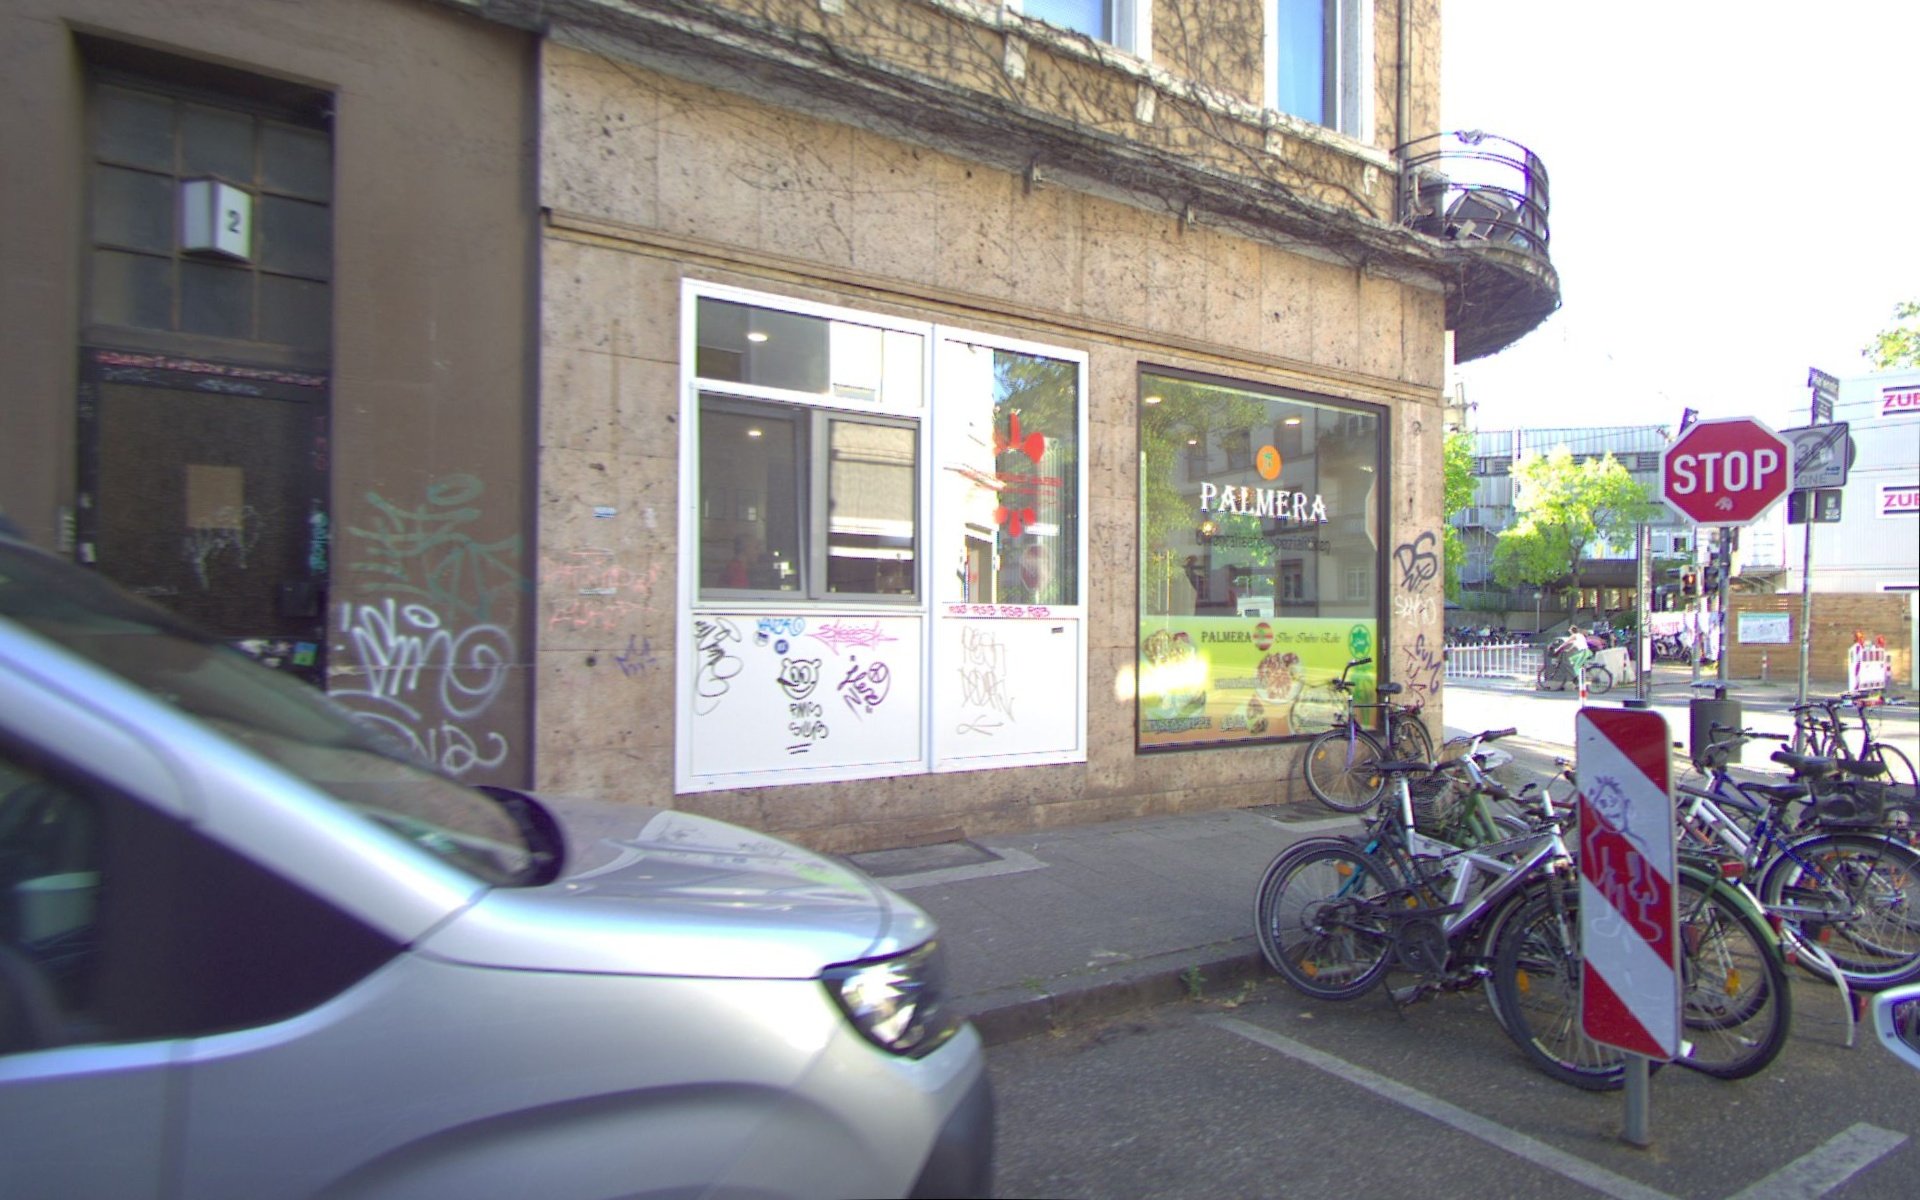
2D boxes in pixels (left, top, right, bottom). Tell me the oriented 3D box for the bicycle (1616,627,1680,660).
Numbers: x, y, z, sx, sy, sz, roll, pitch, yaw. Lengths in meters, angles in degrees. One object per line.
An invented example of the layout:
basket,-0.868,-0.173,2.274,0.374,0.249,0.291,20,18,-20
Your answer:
bicycle,26.959,1.710,39.386,2.009,1.274,0.471,-1,0,16

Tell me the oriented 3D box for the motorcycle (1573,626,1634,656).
motorcycle,28.052,1.790,43.787,2.167,1.274,0.543,-1,0,16

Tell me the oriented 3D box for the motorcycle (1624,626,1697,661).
motorcycle,26.419,1.634,37.906,2.167,1.274,0.543,-1,0,16

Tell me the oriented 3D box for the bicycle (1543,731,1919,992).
bicycle,3.958,1.235,5.046,0.424,0.974,1.752,1,-2,-37

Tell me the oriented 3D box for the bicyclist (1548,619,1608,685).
bicyclist,16.132,1.349,26.240,0.887,1.661,1.089,3,-2,-36

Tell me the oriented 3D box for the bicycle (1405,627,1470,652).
bicycle,23.609,1.928,49.740,0.811,1.162,3.067,0,-1,-27

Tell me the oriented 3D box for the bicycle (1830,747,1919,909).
bicycle,5.616,1.292,5.460,0.368,0.829,1.298,1,-2,-39

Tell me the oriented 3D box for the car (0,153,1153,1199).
car,-2.029,0.570,1.258,4.465,1.934,1.672,1,-4,-30

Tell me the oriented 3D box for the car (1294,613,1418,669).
car,15.481,1.527,39.186,4.891,1.918,1.994,-2,0,-32

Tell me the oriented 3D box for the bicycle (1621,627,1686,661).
bicycle,26.844,1.699,38.920,2.009,1.274,0.471,-1,0,16

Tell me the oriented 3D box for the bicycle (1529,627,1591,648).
bicycle,34.083,2.124,57.114,0.811,1.162,3.067,0,-1,-27

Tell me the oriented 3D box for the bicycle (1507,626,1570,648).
bicycle,31.810,2.042,55.270,0.811,1.162,3.067,0,-1,-27

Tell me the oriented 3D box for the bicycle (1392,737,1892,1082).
bicycle,2.740,1.167,4.277,0.417,0.974,1.756,1,-1,-30

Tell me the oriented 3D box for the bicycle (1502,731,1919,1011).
bicycle,3.611,1.200,4.792,0.478,0.974,1.749,1,-2,-41

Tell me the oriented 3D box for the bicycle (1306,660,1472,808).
bicycle,3.530,1.052,8.221,1.573,1.106,0.396,2,-2,-30

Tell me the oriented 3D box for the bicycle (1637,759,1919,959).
bicycle,4.363,1.306,5.241,0.378,0.829,1.298,1,-4,-39

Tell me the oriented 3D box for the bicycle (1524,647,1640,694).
bicycle,16.164,1.808,26.168,0.887,1.107,2.406,3,-2,-36

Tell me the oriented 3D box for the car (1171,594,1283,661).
car,11.760,1.133,44.027,5.335,2.565,1.977,-3,1,-40

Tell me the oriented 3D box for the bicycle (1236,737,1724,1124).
bicycle,1.914,1.147,4.002,0.458,1.002,1.756,1,-1,-30

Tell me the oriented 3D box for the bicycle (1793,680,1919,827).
bicycle,8.181,1.336,9.077,0.449,1.060,1.687,0,1,20

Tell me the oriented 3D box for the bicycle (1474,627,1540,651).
bicycle,28.456,2.019,52.318,0.811,1.162,3.067,0,-1,-27

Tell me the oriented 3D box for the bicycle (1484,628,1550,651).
bicycle,29.243,2.045,52.806,0.811,1.162,3.067,0,-1,-27

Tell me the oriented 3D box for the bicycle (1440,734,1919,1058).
bicycle,3.086,1.181,4.492,0.438,0.974,1.756,1,-2,-30

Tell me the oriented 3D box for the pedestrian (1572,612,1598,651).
pedestrian,32.724,1.650,52.603,0.926,2.040,0.798,0,-1,-26

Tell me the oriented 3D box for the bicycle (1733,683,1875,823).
bicycle,7.745,1.356,9.288,0.442,1.059,1.664,0,-1,20

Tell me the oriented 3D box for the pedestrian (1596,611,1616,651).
pedestrian,33.974,1.619,52.810,0.789,2.040,1.029,-1,-1,29

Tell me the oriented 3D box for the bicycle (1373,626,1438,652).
bicycle,21.556,1.866,48.669,0.811,1.162,3.067,0,-1,-27

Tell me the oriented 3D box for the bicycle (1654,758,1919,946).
bicycle,4.659,1.339,5.468,0.358,0.829,1.376,1,-4,-39

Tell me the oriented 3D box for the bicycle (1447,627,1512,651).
bicycle,26.530,1.959,51.359,0.811,1.162,3.067,0,-1,-27

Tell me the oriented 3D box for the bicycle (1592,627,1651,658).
bicycle,28.034,1.787,42.568,2.009,1.274,0.543,-1,0,16

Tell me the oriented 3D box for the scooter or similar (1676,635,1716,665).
scooter or similar,26.640,1.803,36.341,1.464,1.033,0.384,0,0,-19

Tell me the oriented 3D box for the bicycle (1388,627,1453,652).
bicycle,22.545,1.898,49.231,0.811,1.162,3.067,0,-1,-27

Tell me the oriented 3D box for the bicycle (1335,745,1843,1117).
bicycle,2.379,1.180,4.067,0.400,0.974,1.756,1,-1,-30

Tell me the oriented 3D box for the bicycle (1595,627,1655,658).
bicycle,27.812,1.773,42.014,2.009,1.274,0.543,-1,0,16

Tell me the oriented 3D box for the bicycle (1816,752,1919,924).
bicycle,5.325,1.285,5.216,0.352,0.829,1.298,1,-2,-39

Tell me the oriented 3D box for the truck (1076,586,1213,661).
truck,9.054,1.039,48.858,7.052,3.392,2.365,-1,0,-37
